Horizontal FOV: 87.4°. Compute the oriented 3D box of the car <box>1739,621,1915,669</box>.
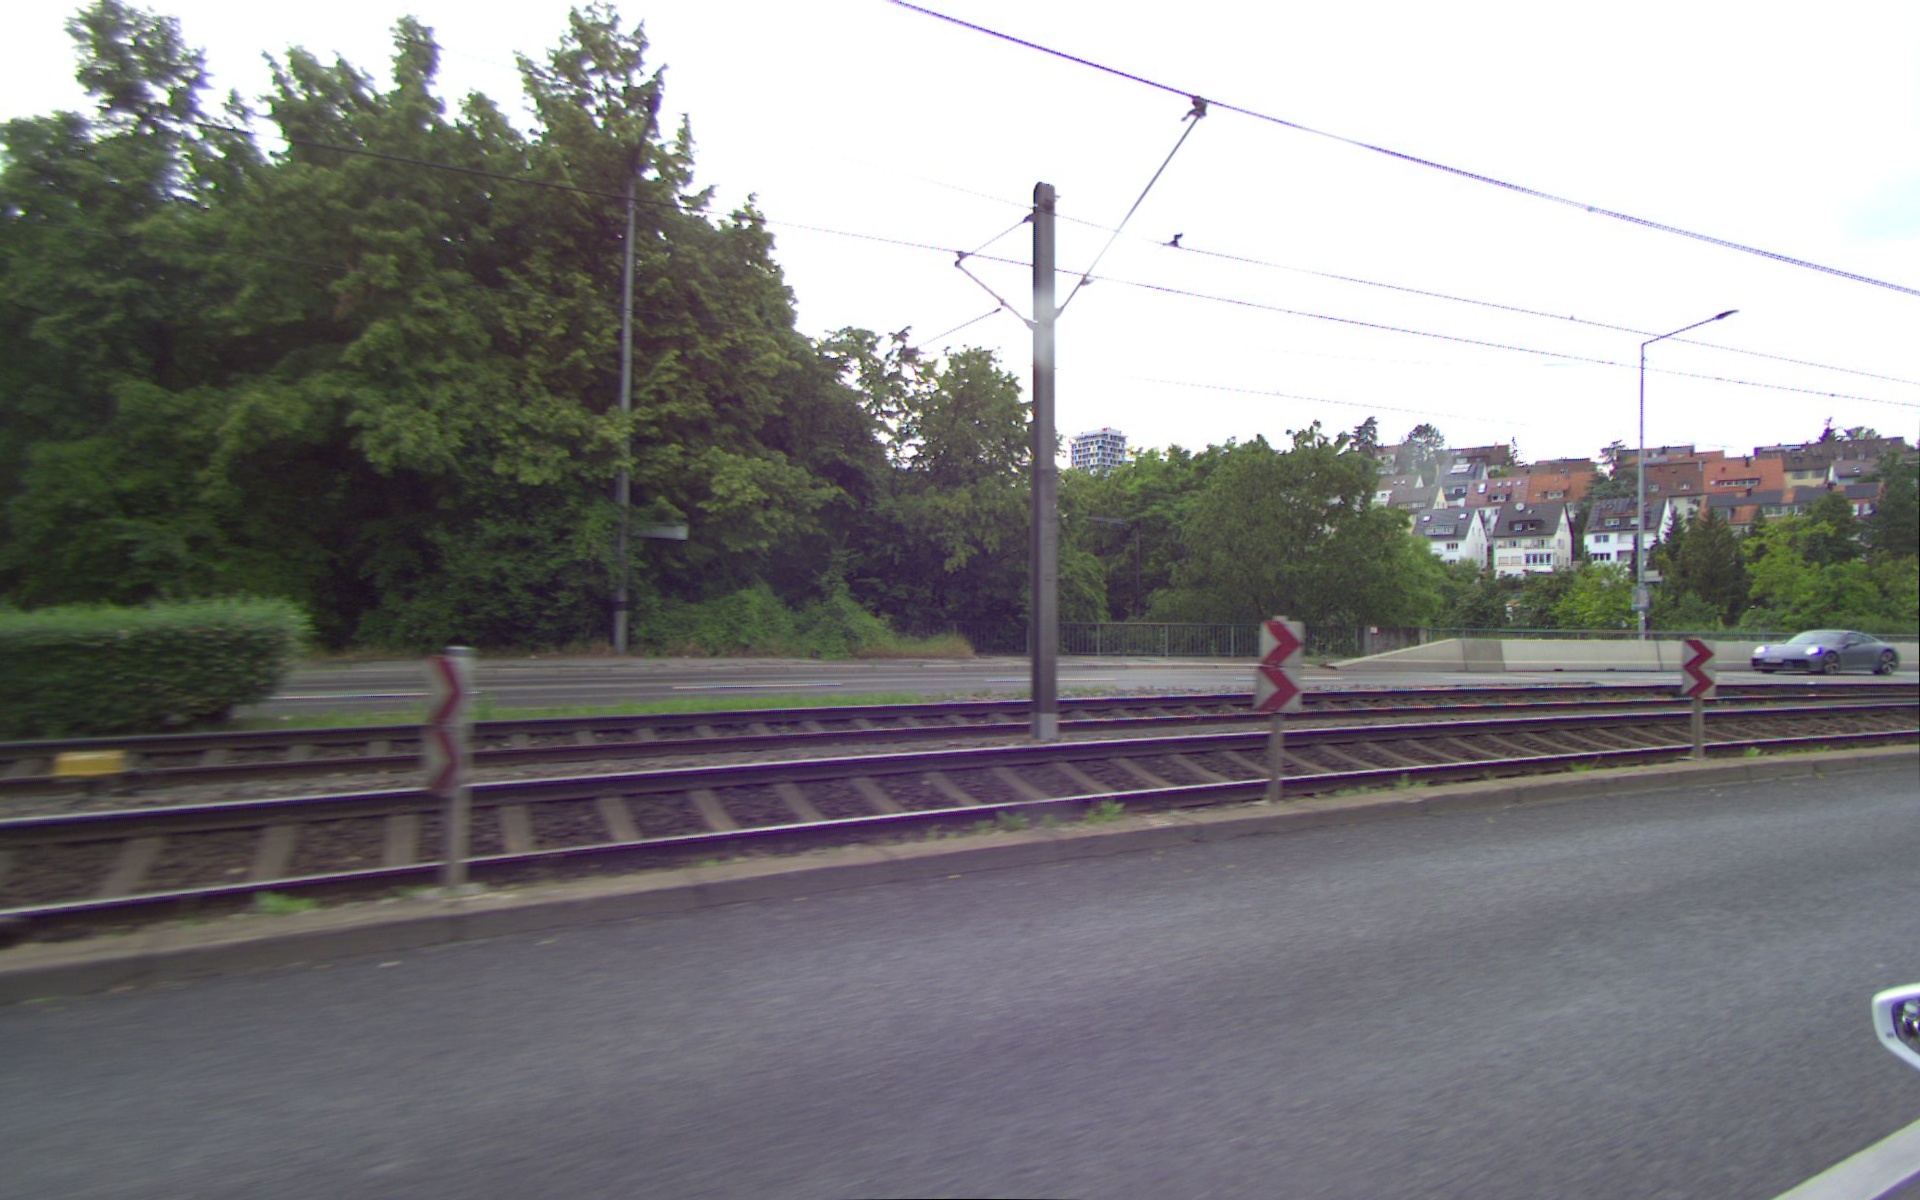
[{"bbox_3d":[25.696,1.344,29.787,4.544,1.331,1.836,1,-2,-17],"label":"car"}]
